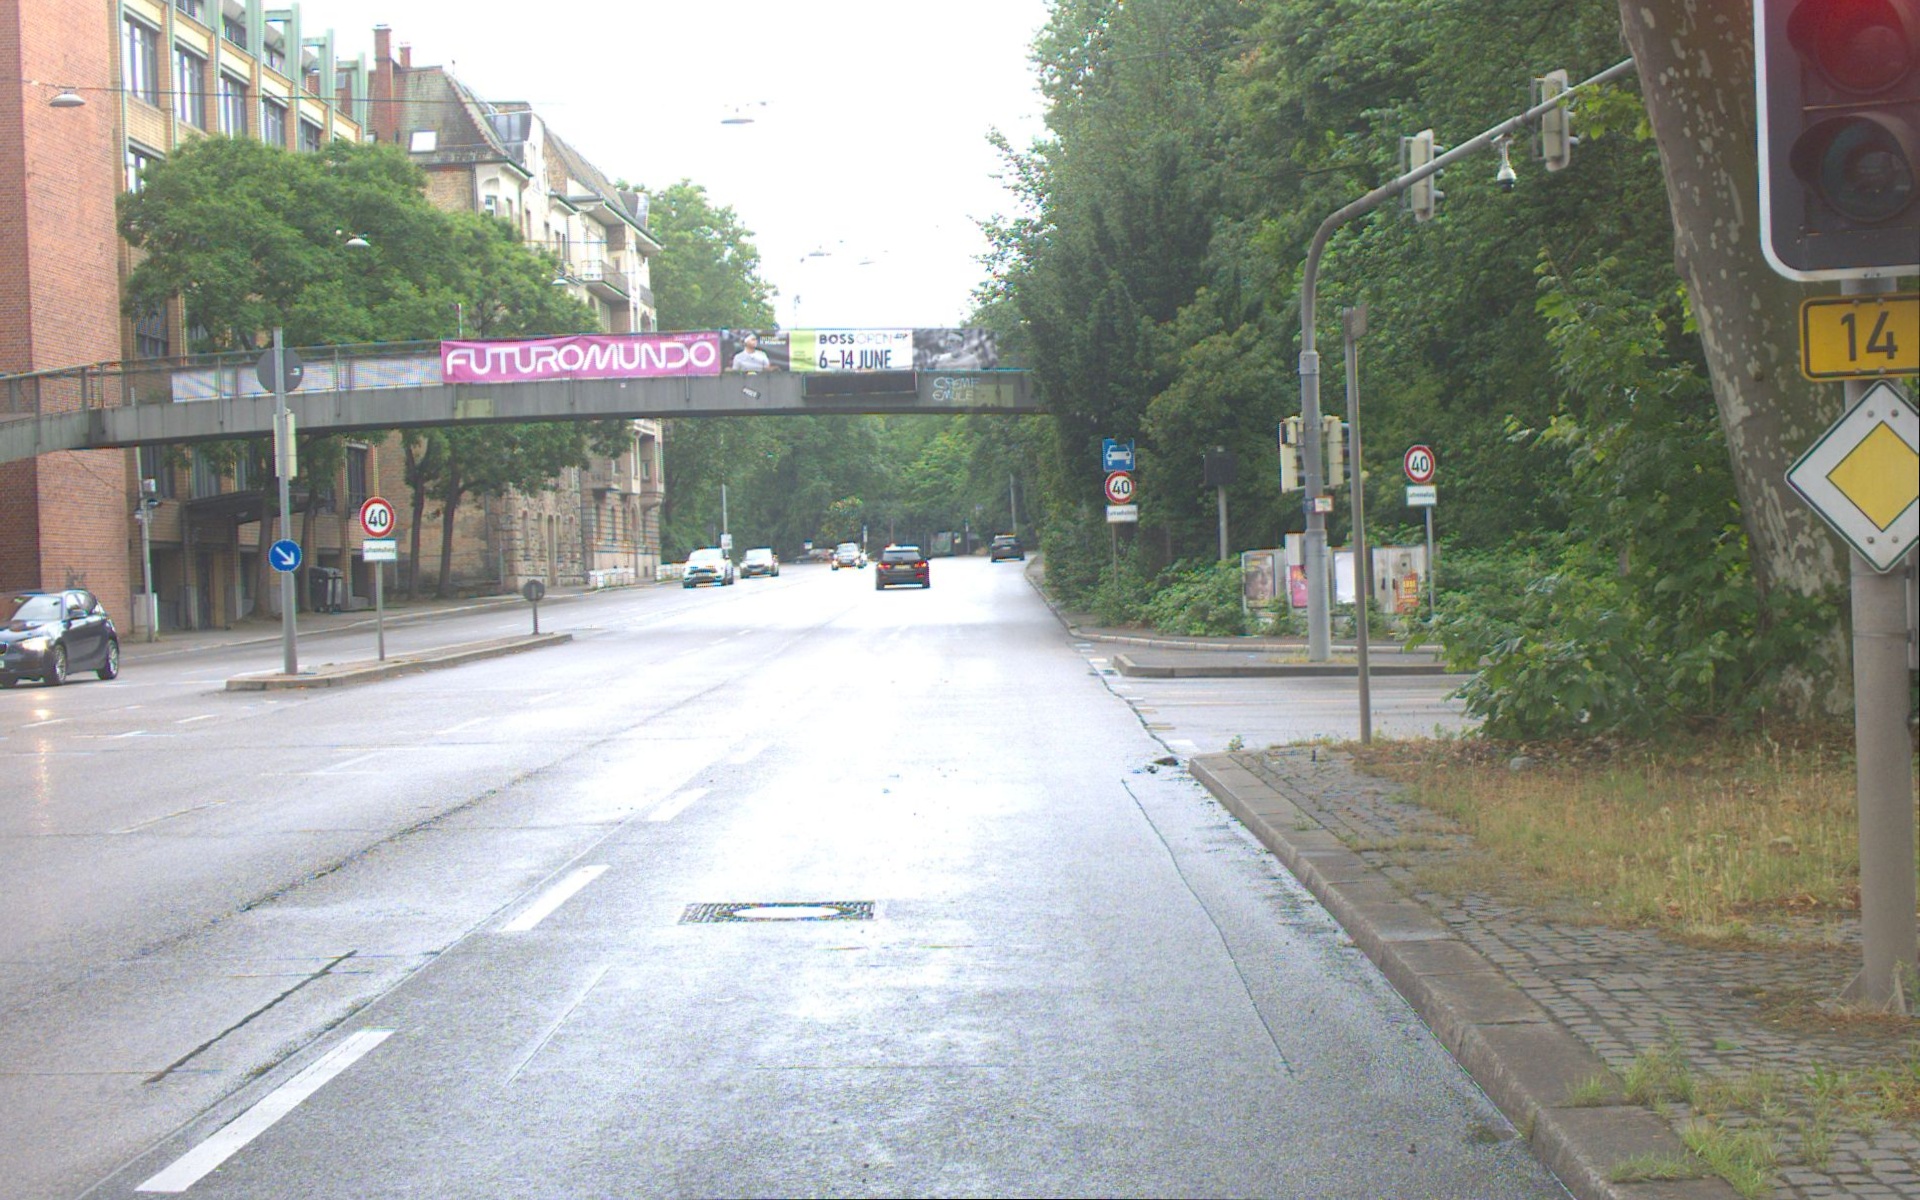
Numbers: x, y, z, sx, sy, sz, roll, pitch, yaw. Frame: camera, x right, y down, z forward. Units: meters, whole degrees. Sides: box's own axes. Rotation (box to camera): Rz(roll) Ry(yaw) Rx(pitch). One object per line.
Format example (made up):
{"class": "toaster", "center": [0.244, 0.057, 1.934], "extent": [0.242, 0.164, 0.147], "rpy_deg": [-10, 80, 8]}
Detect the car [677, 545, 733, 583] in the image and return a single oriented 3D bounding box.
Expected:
{"class": "car", "center": [-10.980, -1.555, 148.359], "extent": [1.890, 1.604, 4.456], "rpy_deg": [-1, 1, 2]}

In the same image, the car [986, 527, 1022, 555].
{"class": "car", "center": [2.384, -3.194, 186.747], "extent": [1.842, 1.448, 3.777], "rpy_deg": [1, 1, -1]}

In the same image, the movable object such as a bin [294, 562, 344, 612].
{"class": "movable object such as a bin", "center": [-20.229, -0.417, 108.567], "extent": [1.299, 1.513, 1.214], "rpy_deg": [-1, 1, 1]}

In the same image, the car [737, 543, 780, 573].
{"class": "car", "center": [-10.203, -2.115, 174.528], "extent": [1.709, 1.459, 4.041], "rpy_deg": [-2, 0, 3]}

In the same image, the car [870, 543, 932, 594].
{"class": "car", "center": [-2.014, -1.087, 116.460], "extent": [2.004, 1.638, 4.376], "rpy_deg": [-2, 1, -2]}

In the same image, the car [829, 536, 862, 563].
{"class": "car", "center": [-6.558, -2.882, 196.512], "extent": [1.683, 1.431, 3.862], "rpy_deg": [-2, 0, 0]}

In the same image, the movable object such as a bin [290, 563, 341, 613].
{"class": "movable object such as a bin", "center": [-20.093, -0.377, 107.137], "extent": [1.282, 1.513, 1.273], "rpy_deg": [-1, 1, 1]}

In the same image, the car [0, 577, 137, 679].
{"class": "car", "center": [-13.681, 0.422, 50.912], "extent": [1.686, 1.414, 4.214], "rpy_deg": [-2, 0, 4]}
